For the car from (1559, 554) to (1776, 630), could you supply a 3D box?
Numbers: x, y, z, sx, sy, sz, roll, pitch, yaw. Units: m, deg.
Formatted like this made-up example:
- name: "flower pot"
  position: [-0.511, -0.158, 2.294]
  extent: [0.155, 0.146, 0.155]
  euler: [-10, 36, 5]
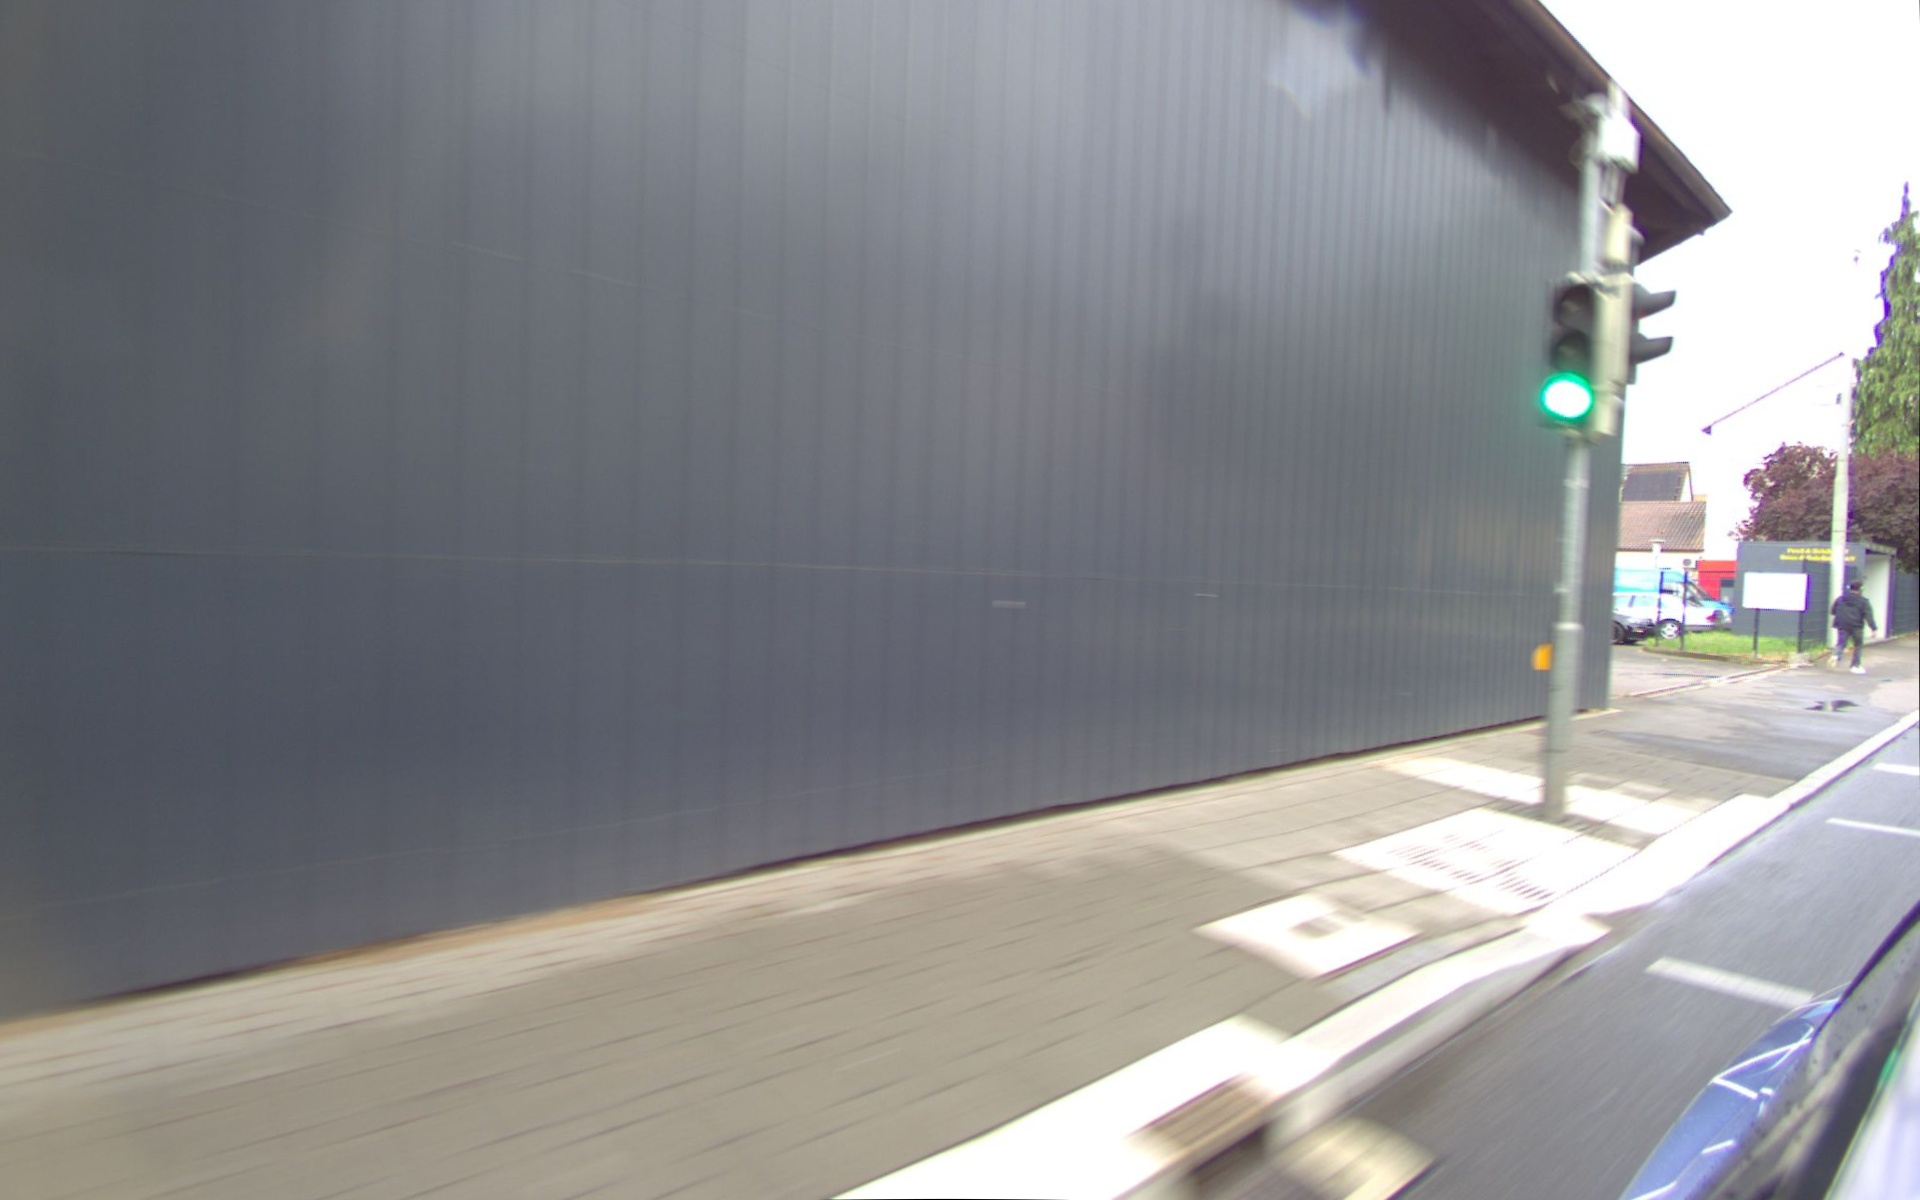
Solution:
- name: "car"
  position: [23.484, -0.330, 33.804]
  extent: [1.966, 2.238, 5.577]
  euler: [0, 2, -42]

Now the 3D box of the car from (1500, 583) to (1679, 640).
- name: "car"
  position: [17.845, 0.275, 28.812]
  extent: [1.753, 1.441, 3.996]
  euler: [-2, 2, -39]

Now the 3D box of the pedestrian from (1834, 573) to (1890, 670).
- name: "pedestrian"
  position: [16.569, 0.369, 18.587]
  extent: [0.742, 1.725, 0.887]
  euler: [1, 2, 44]

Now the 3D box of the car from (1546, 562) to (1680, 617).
- name: "car"
  position: [30.286, -0.564, 47.065]
  extent: [1.966, 2.297, 4.830]
  euler: [-2, 4, -41]

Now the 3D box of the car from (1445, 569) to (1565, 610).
- name: "car"
  position: [25.690, -0.548, 47.769]
  extent: [4.600, 1.714, 1.968]
  euler: [4, 4, 45]

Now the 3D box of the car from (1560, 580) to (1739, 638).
- name: "car"
  position: [21.661, 0.232, 31.931]
  extent: [1.764, 1.549, 4.386]
  euler: [-2, 4, -42]
